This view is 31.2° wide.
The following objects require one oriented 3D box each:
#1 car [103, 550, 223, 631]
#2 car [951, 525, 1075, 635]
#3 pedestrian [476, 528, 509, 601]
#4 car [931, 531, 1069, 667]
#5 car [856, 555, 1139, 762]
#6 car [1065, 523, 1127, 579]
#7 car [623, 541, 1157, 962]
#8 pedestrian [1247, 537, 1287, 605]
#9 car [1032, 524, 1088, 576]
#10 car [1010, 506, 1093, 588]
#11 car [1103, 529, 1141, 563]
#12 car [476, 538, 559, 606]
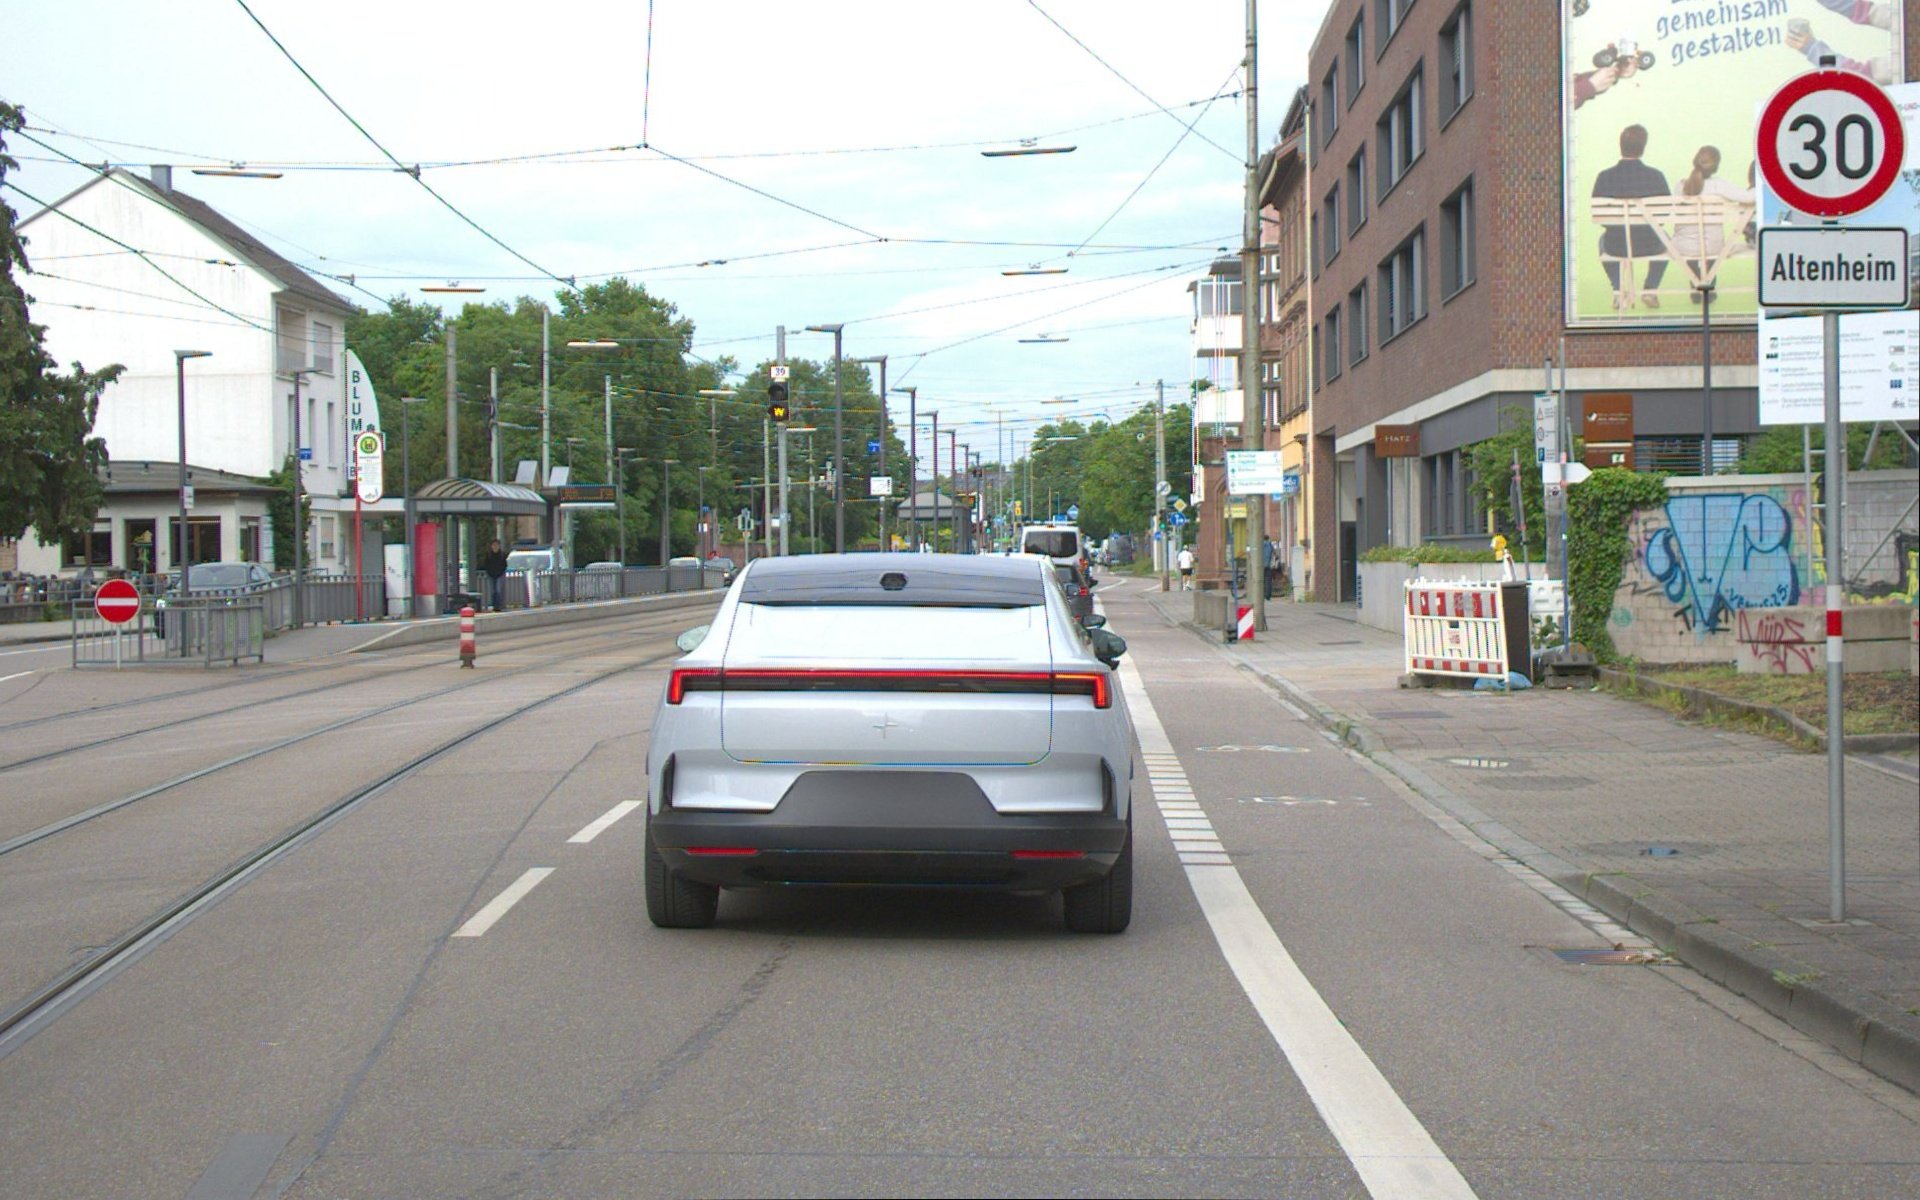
[{"bbox_3d":[-15.515,-0.199,67.114,1.904,1.468,4.821,-2,1,-9],"label":"car"},{"bbox_3d":[0.882,-0.371,59.528,1.993,1.809,4.000,-1,1,-1],"label":"car"},{"bbox_3d":[-10.749,-0.818,79.025,0.615,1.659,0.697,0,0,6],"label":"pedestrian"},{"bbox_3d":[0.557,-0.031,44.658,1.681,1.682,3.823,0,0,2],"label":"car"},{"bbox_3d":[0.295,0.394,26.518,1.993,1.415,4.000,-1,1,1],"label":"car"},{"bbox_3d":[4.951,-1.795,125.644,1.993,2.007,4.000,0,0,-1],"label":"car"},{"bbox_3d":[-0.342,0.560,14.930,1.999,1.575,4.000,0,0,-2],"label":"car"},{"bbox_3d":[8.588,-0.814,96.151,0.961,1.843,0.975,-3,1,8],"label":"pedestrian"},{"bbox_3d":[3.943,-1.968,136.082,1.993,2.007,4.000,0,0,-1],"label":"car"},{"bbox_3d":[2.728,-1.589,103.393,2.226,2.394,5.123,0,0,-1],"label":"car"},{"bbox_3d":[12.299,-4.101,261.156,2.807,2.496,5.722,0,0,2],"label":"car"},{"bbox_3d":[-13.505,-0.865,105.109,1.884,1.982,4.525,-1,1,1],"label":"car"}]
